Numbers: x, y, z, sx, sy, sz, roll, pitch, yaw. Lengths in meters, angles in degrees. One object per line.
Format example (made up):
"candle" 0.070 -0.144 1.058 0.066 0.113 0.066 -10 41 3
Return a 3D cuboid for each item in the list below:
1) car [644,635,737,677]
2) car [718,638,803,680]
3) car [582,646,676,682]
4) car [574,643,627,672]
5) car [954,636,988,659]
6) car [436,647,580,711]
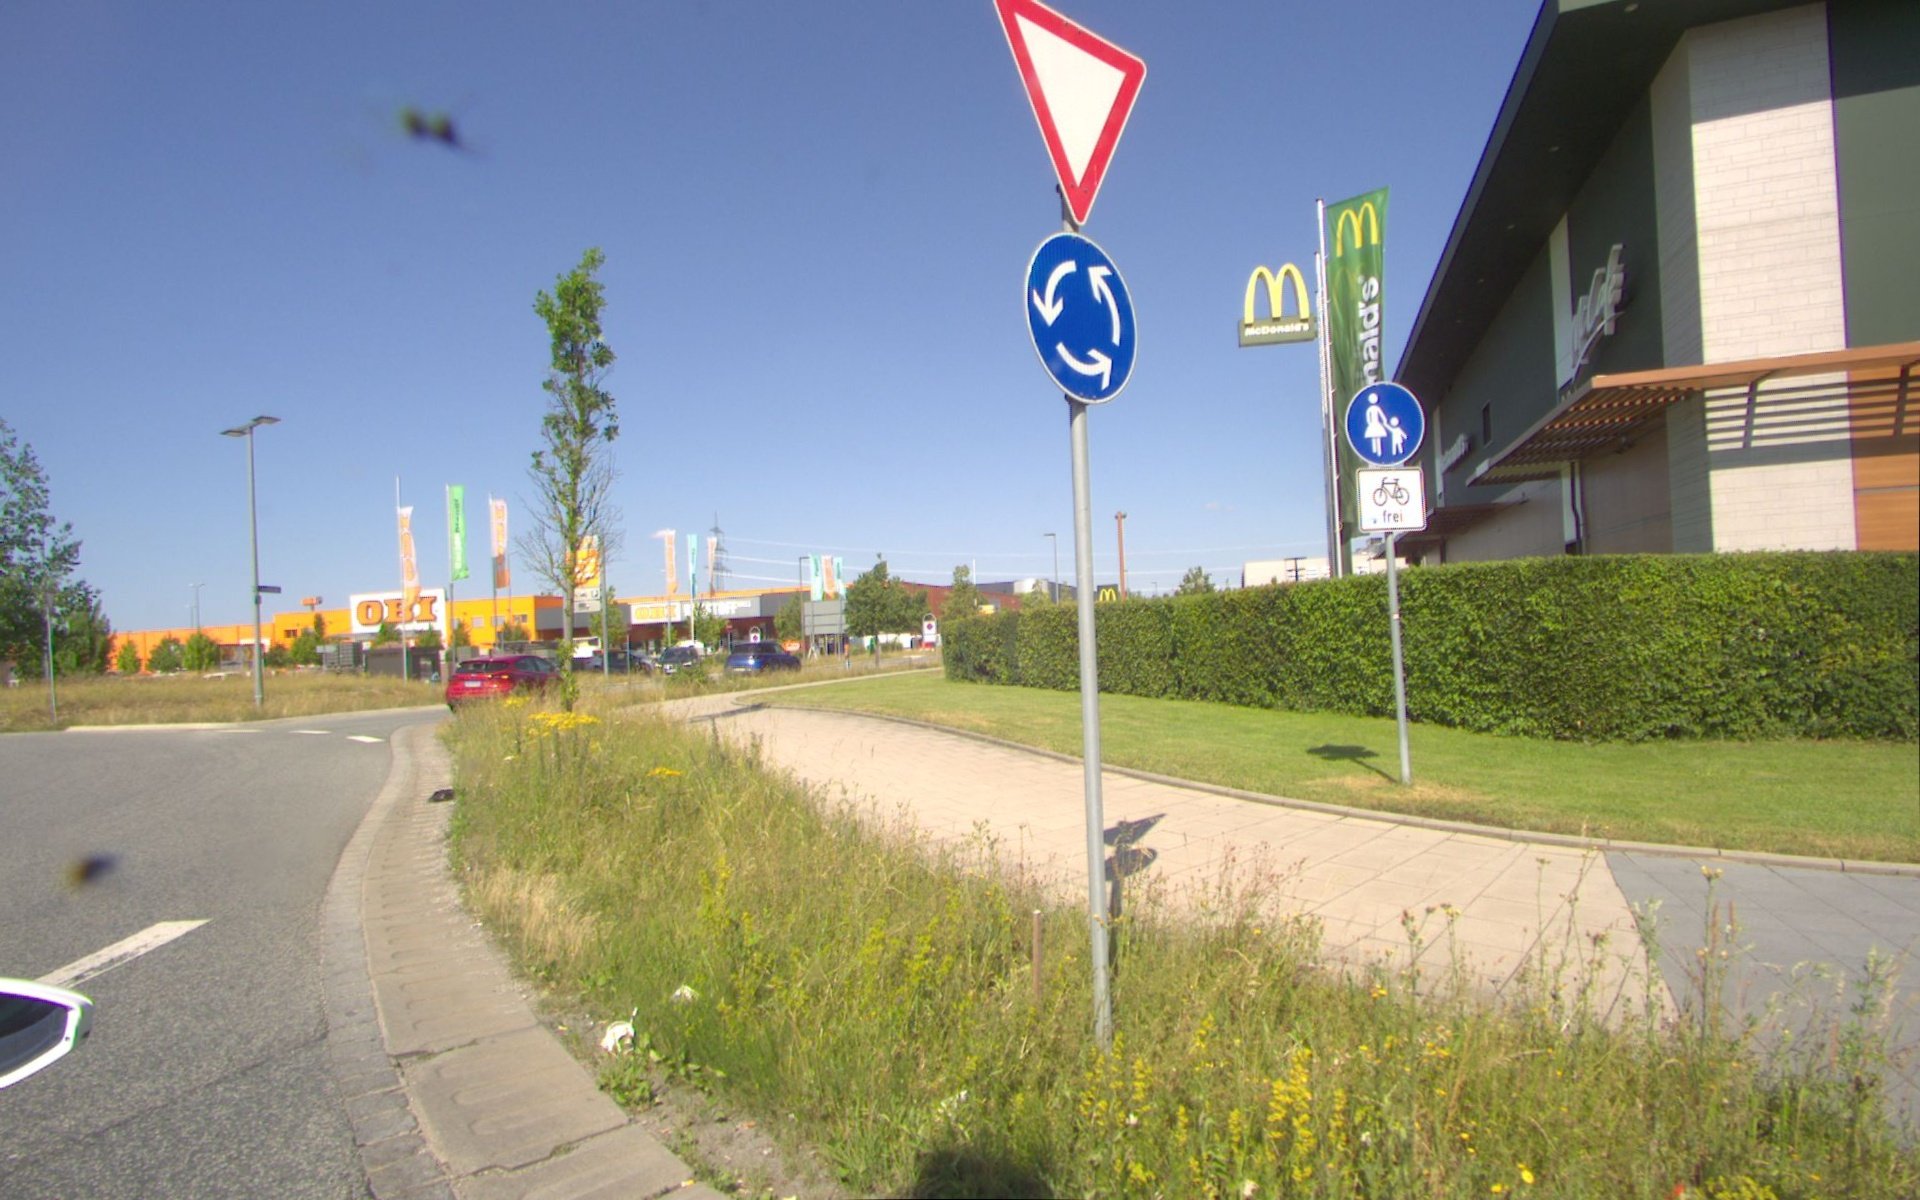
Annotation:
"car" -12.673 2.604 47.347 1.924 1.727 4.620 -4 -3 19
"car" -8.390 2.481 42.494 1.824 1.656 4.076 -2 -2 17
"car" -17.989 3.468 54.455 4.621 1.647 2.073 -5 -2 23
"car" -25.162 4.042 70.175 1.669 1.863 3.774 -3 -4 14
"car" 0.805 3.282 70.117 1.487 1.459 3.346 -3 -1 16
"car" -11.722 2.009 26.311 1.773 1.434 4.119 -1 -2 2
